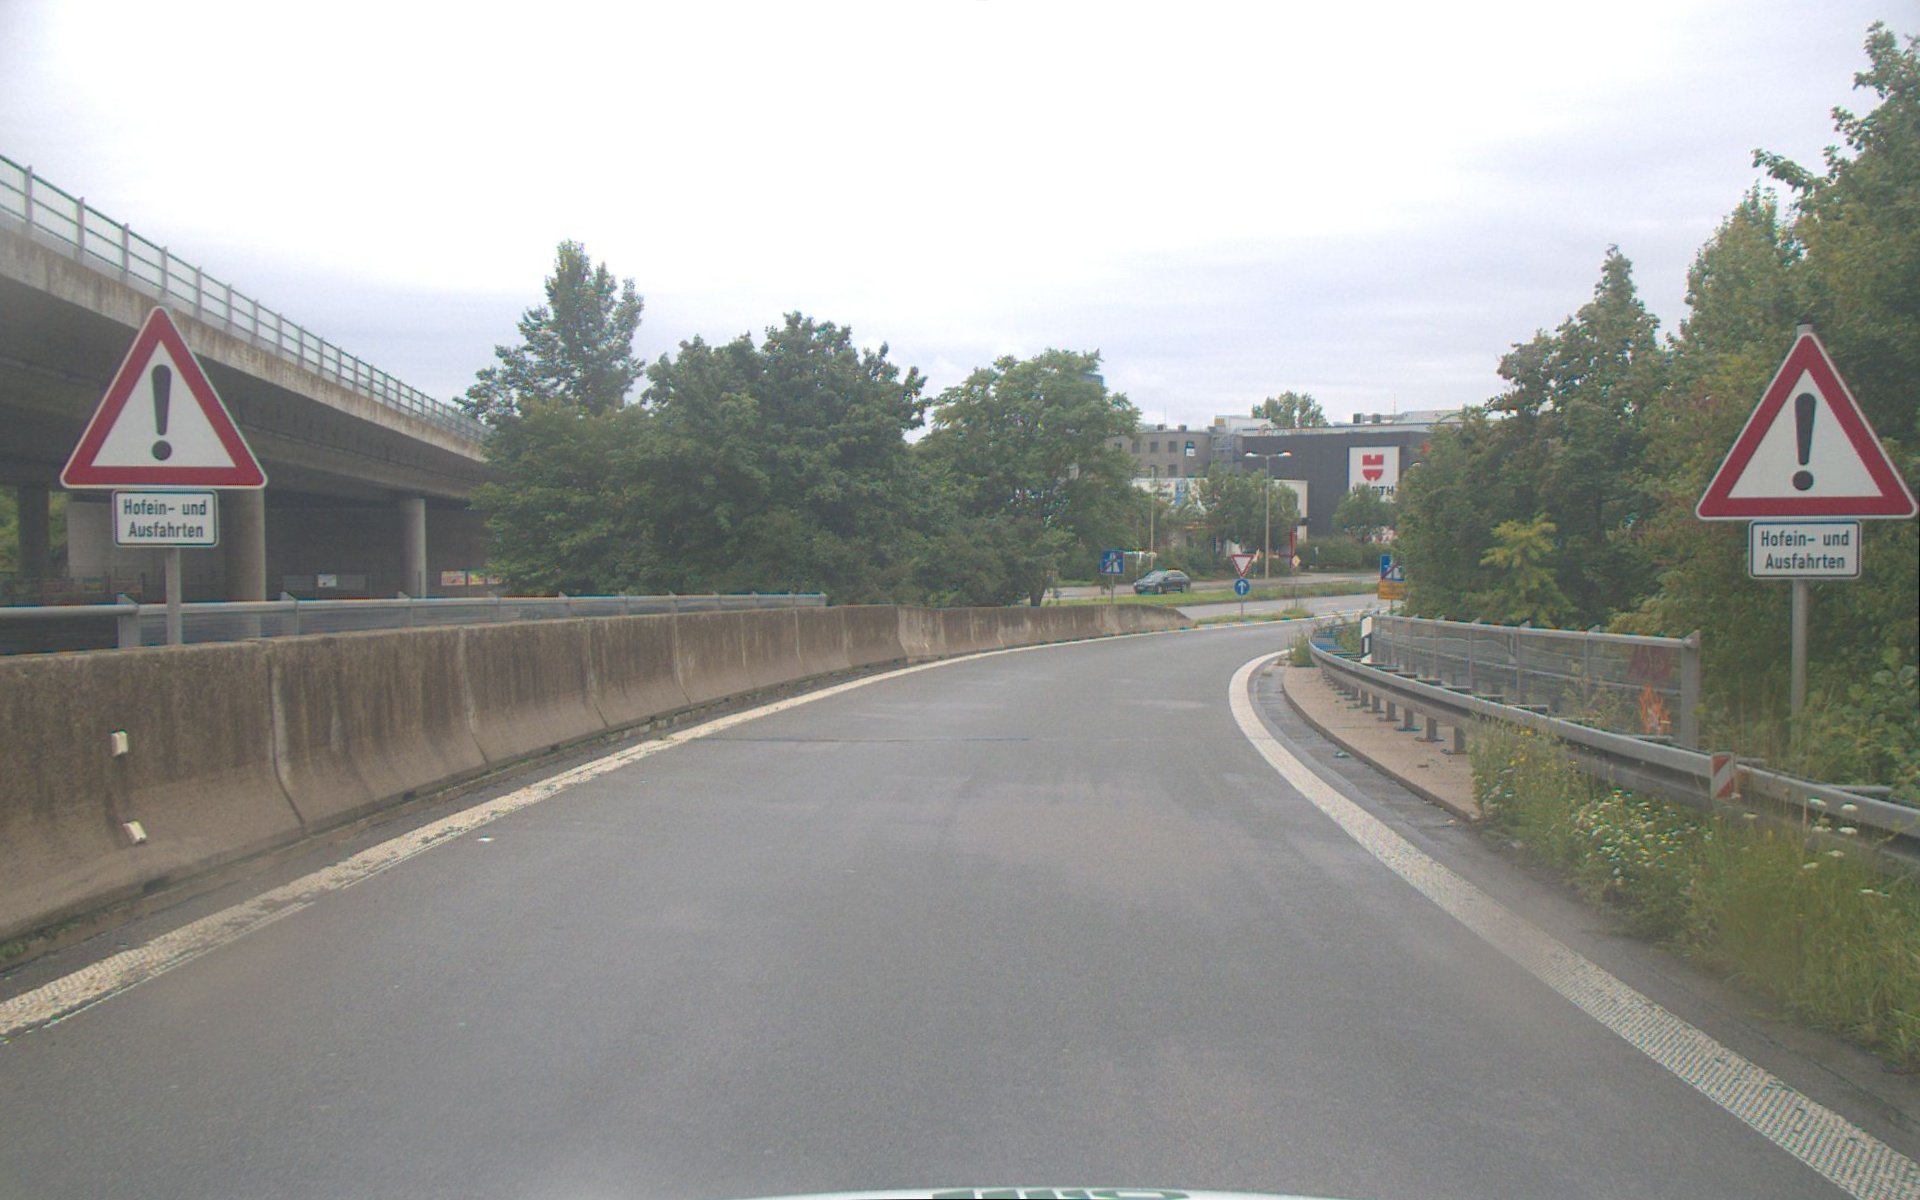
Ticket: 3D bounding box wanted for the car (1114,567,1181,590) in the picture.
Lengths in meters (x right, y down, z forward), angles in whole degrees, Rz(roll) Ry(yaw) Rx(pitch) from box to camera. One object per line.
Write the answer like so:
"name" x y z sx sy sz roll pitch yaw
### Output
"car" 12.299 -1.415 108.322 1.940 1.421 4.787 1 2 42
